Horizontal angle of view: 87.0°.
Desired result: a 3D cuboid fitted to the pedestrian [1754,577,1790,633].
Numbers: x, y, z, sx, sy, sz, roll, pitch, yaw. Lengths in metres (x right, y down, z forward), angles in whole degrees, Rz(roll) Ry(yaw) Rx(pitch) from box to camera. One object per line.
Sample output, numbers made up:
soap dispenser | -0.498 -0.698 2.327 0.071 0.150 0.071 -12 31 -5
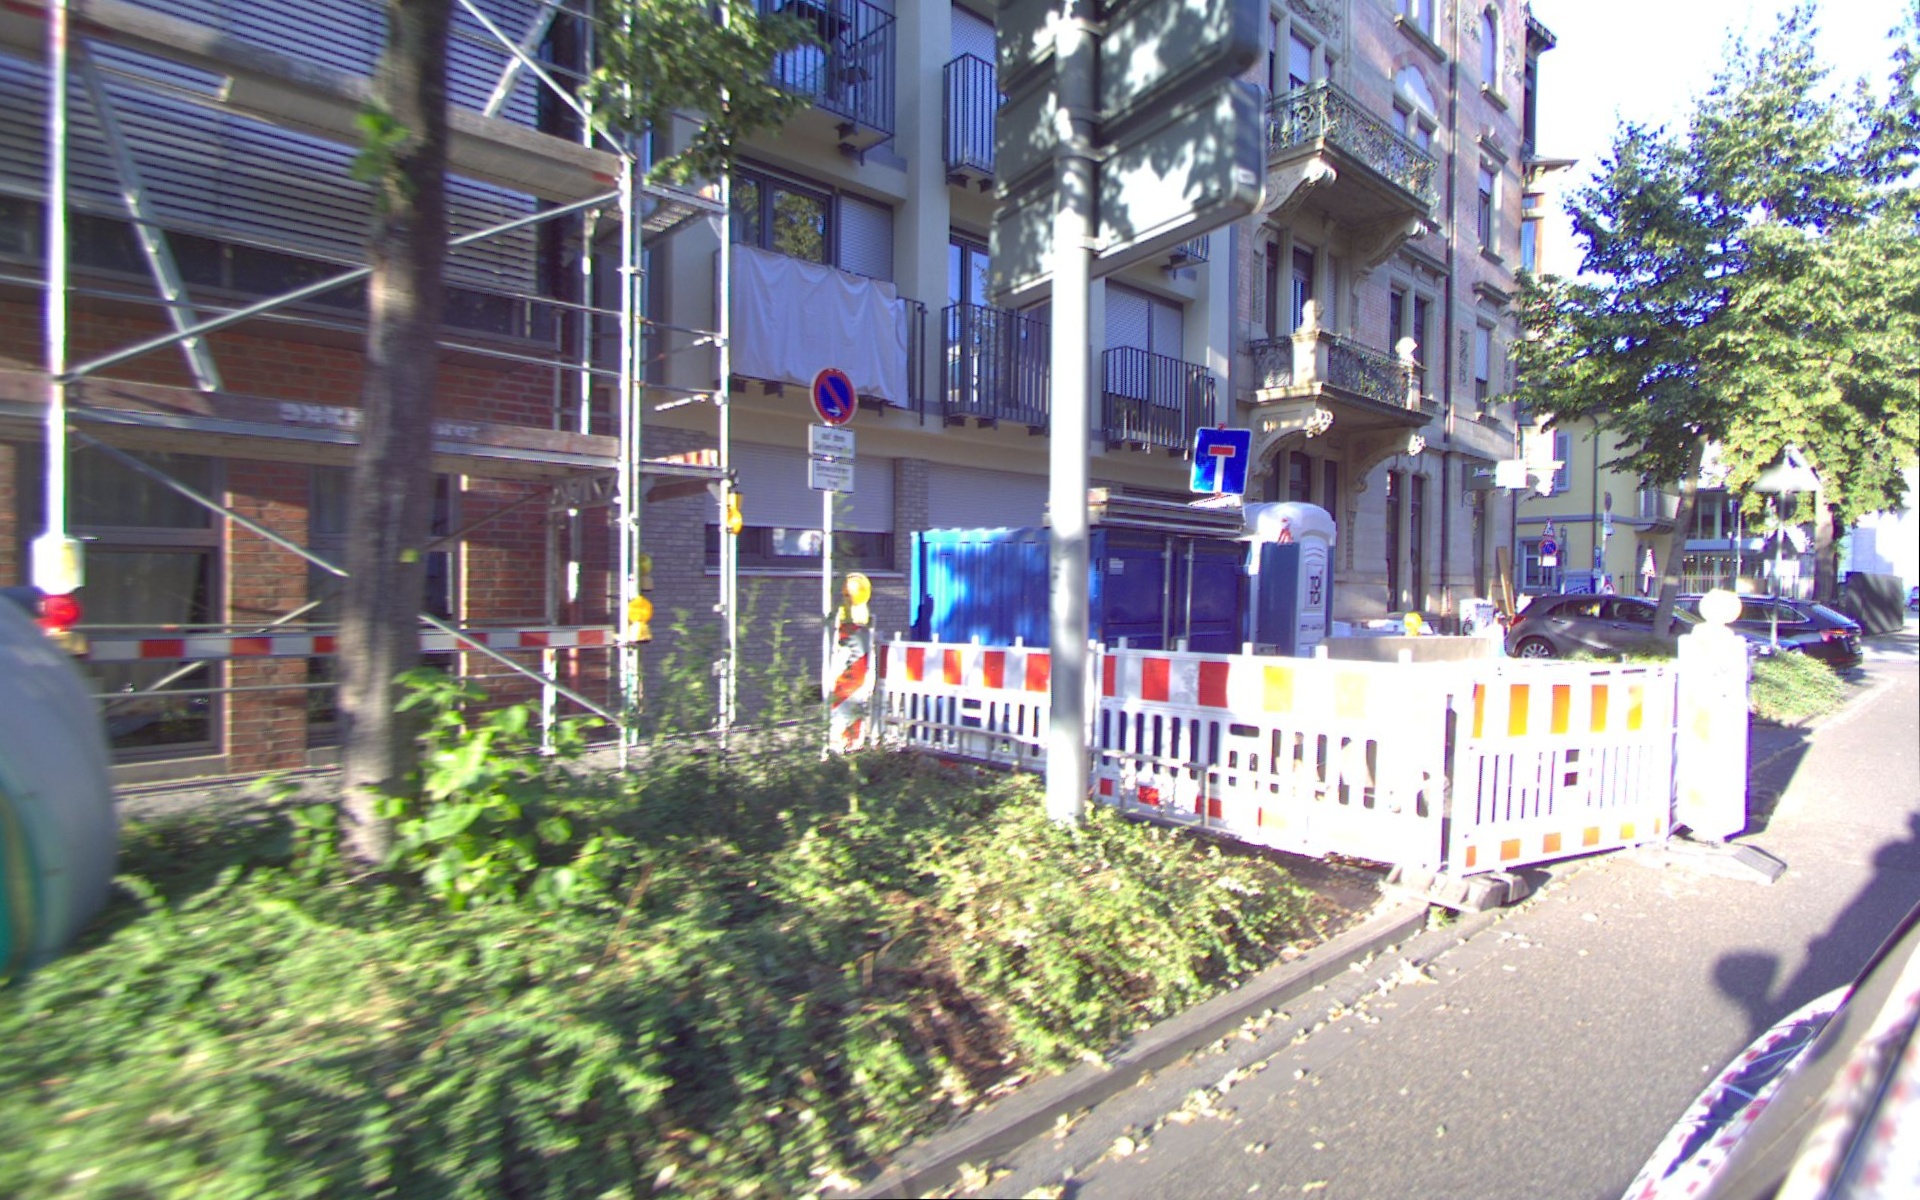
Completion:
pedestrian | 23.640 0.132 29.478 0.459 1.614 0.674 0 1 -29

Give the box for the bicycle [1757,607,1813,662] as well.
bicycle | 16.716 0.679 20.486 1.801 1.026 0.638 0 1 -44

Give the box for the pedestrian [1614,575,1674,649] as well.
pedestrian | 15.857 0.273 23.489 0.943 1.679 0.638 0 0 6

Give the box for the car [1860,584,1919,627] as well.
car | 42.247 0.196 45.593 3.988 1.757 1.710 -1 4 -37

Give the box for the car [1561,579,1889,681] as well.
car | 13.958 0.447 18.693 1.878 1.529 4.534 0 2 -42

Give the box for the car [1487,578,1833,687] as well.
car | 11.811 0.437 17.366 1.834 1.497 4.538 -1 3 -39
